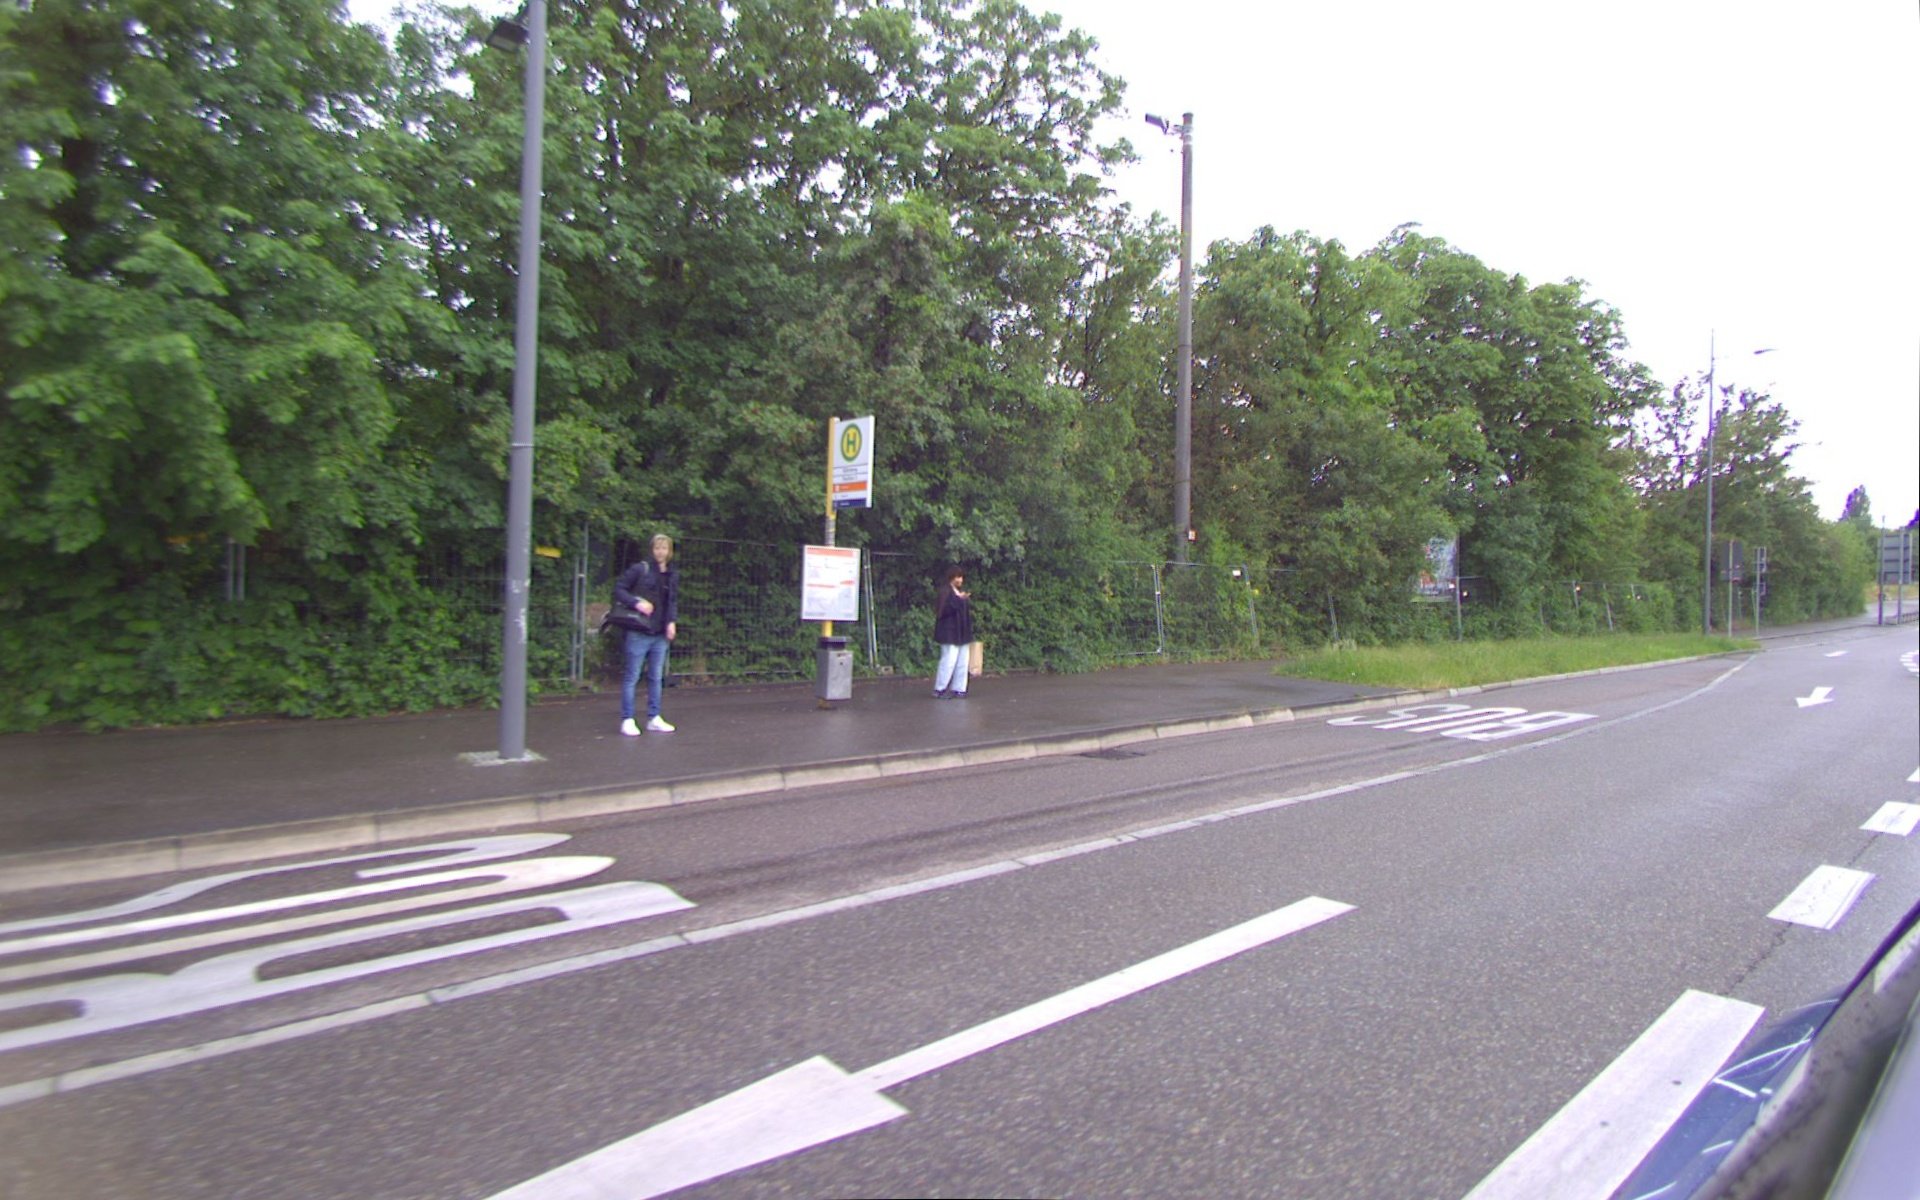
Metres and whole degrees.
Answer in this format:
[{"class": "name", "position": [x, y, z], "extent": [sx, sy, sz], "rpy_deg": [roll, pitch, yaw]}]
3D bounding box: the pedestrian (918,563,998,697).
[{"class": "pedestrian", "position": [-0.022, 0.367, 13.253], "extent": [0.676, 1.678, 0.780], "rpy_deg": [2, 1, 44]}]

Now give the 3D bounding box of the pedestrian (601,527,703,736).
[{"class": "pedestrian", "position": [-2.979, 0.279, 9.789], "extent": [0.640, 1.924, 0.707], "rpy_deg": [2, 1, 44]}]
